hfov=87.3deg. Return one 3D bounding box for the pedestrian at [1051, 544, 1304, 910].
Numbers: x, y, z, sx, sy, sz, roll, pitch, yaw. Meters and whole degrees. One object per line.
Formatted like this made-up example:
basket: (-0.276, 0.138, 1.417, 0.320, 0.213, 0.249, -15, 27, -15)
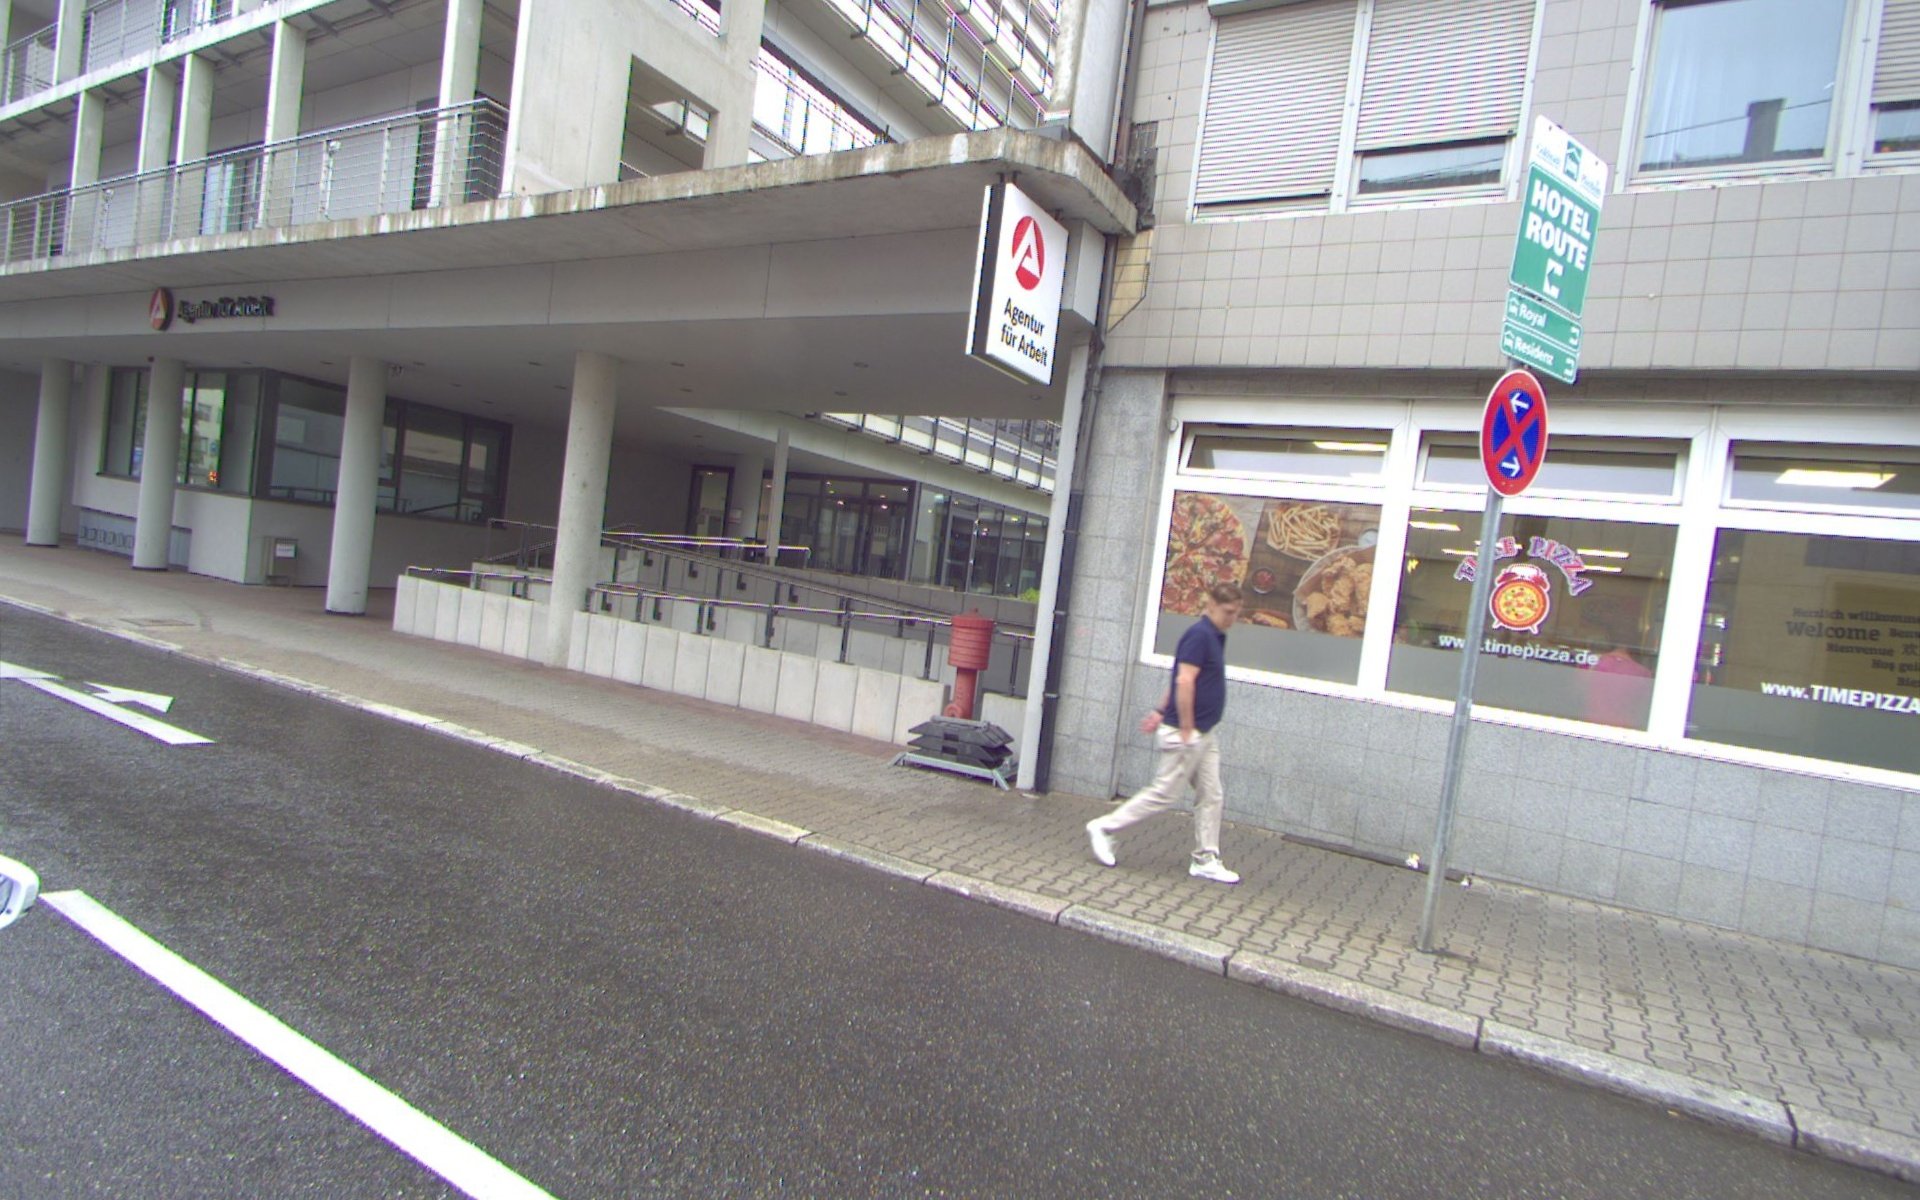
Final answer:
pedestrian: (1.294, 0.661, 5.973, 1.101, 1.893, 0.868, 6, 5, 32)
